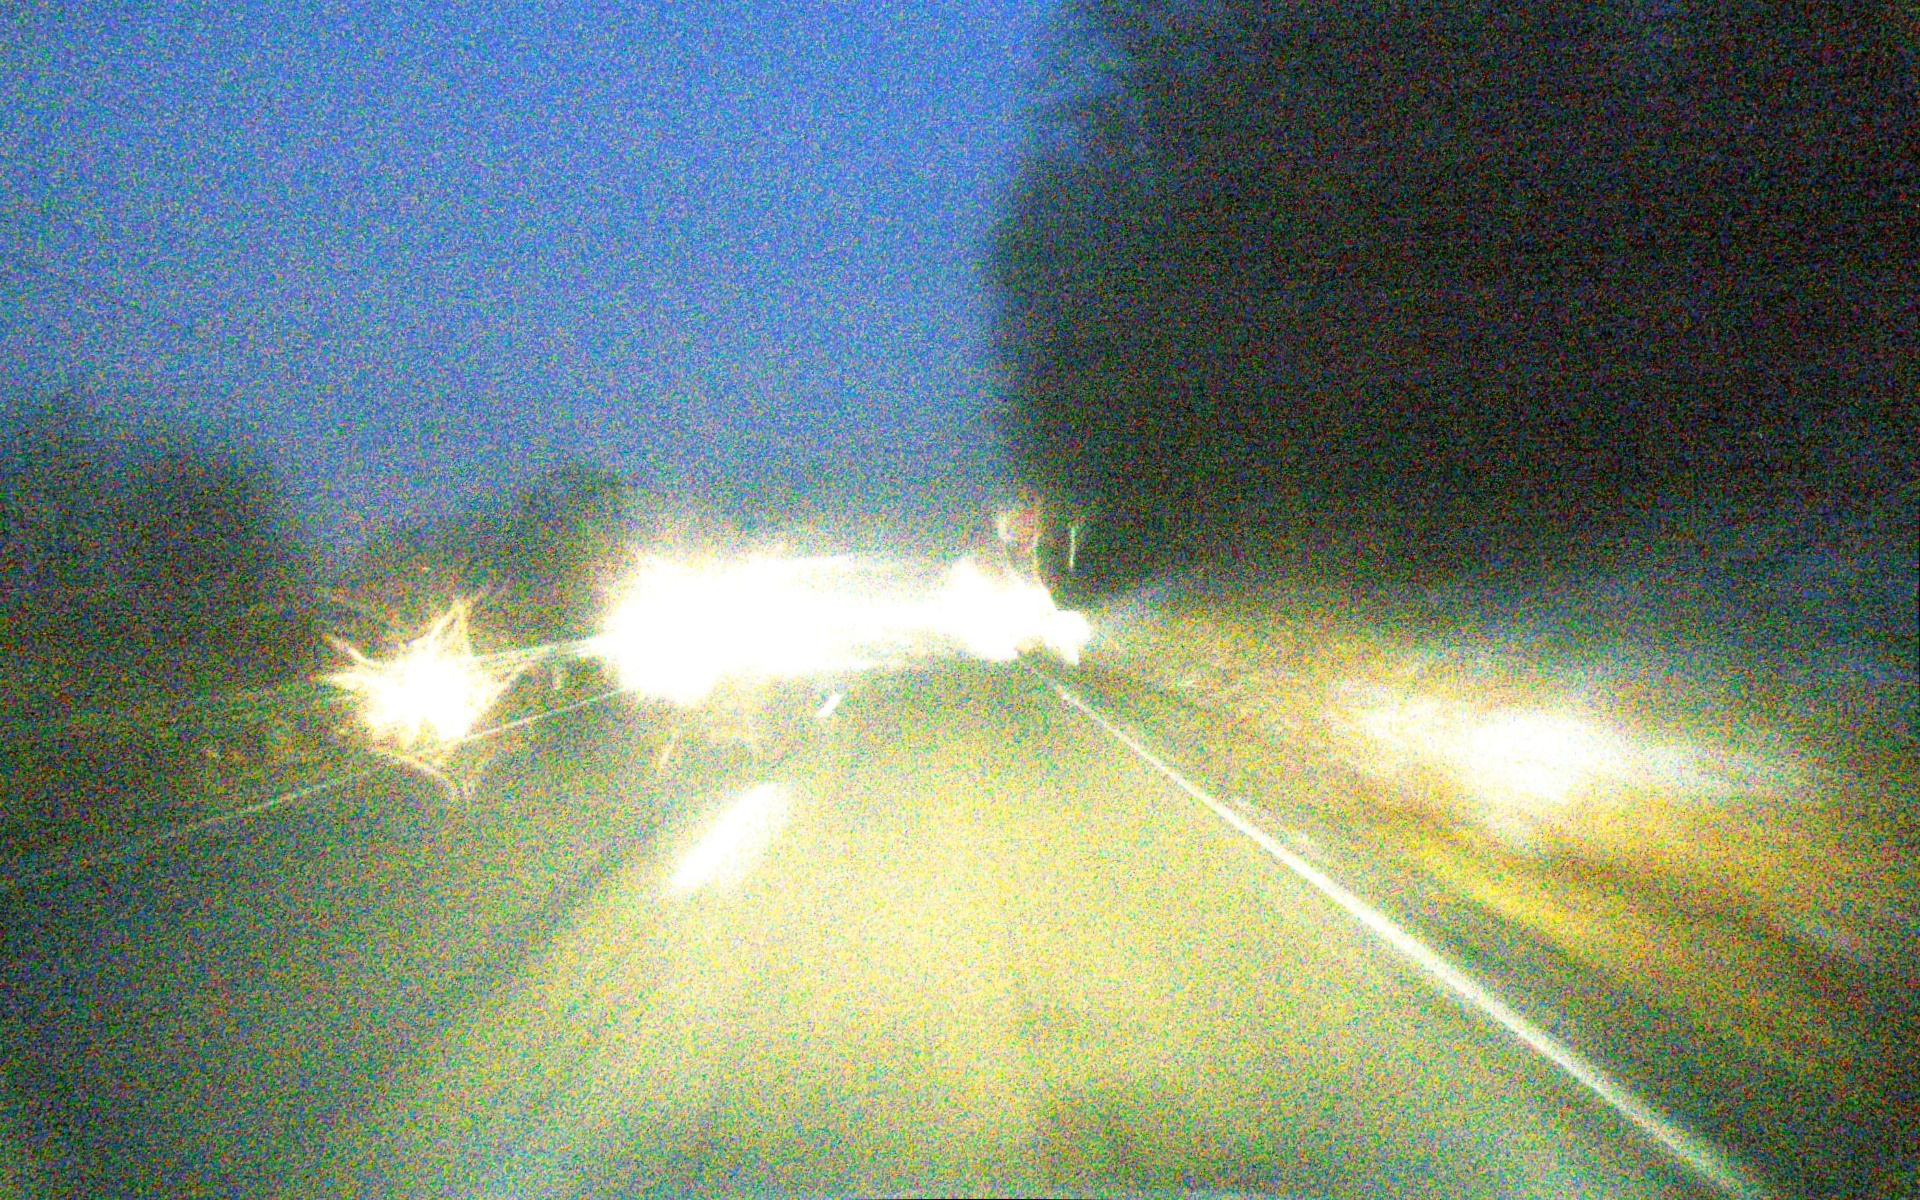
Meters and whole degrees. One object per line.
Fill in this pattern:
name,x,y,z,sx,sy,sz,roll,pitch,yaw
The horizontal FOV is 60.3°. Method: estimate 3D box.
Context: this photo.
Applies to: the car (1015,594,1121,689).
car,2.421,0.995,38.196,2.152,2.049,4.206,0,-2,0
